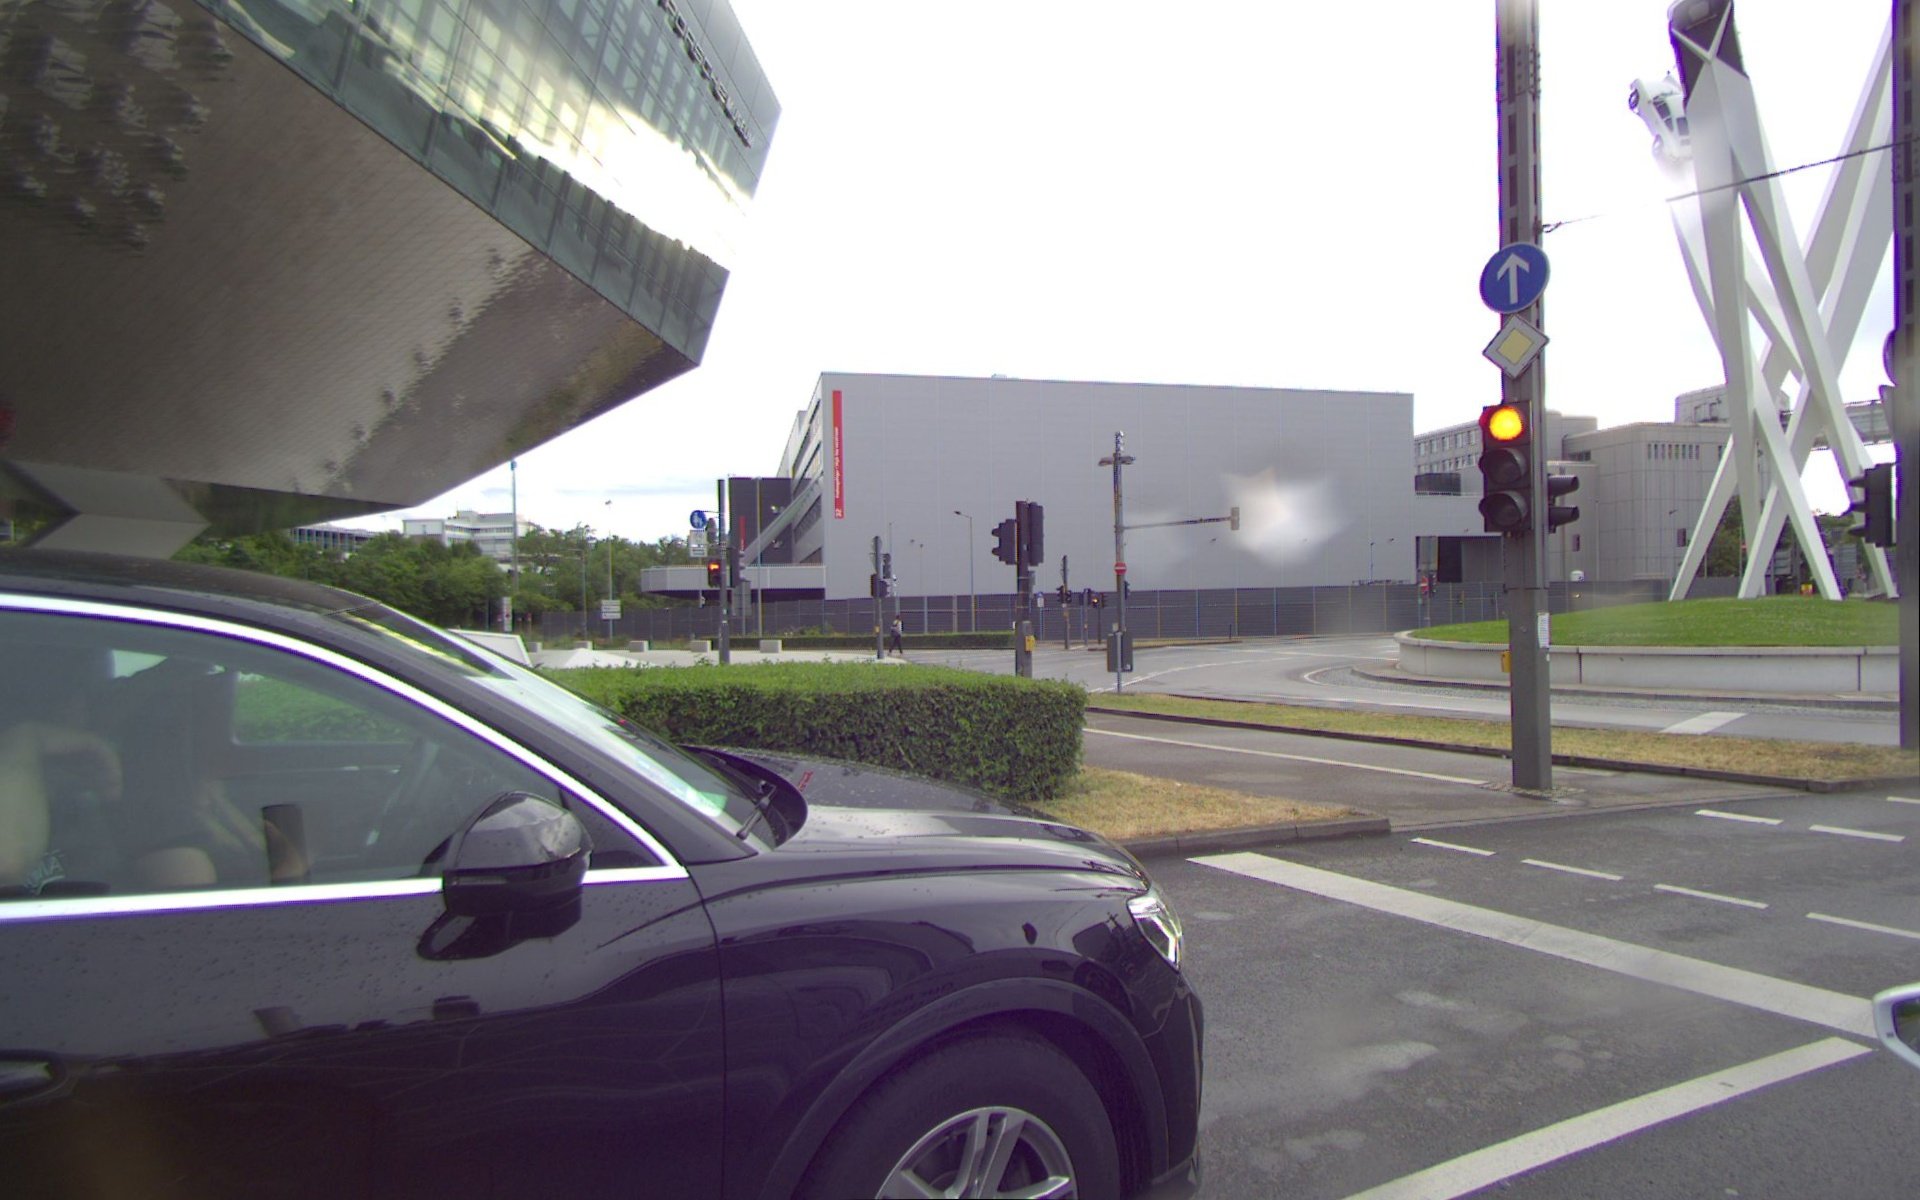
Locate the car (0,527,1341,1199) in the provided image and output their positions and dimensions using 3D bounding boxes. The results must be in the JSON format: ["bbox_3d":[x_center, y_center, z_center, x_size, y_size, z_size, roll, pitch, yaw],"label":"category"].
[{"bbox_3d":[-1.493,0.686,1.792,4.344,1.538,1.743,2,0,-31],"label":"car"}]

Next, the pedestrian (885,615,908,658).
[{"bbox_3d":[-2.765,1.586,43.805,0.638,1.827,0.851,0,0,35],"label":"pedestrian"}]
